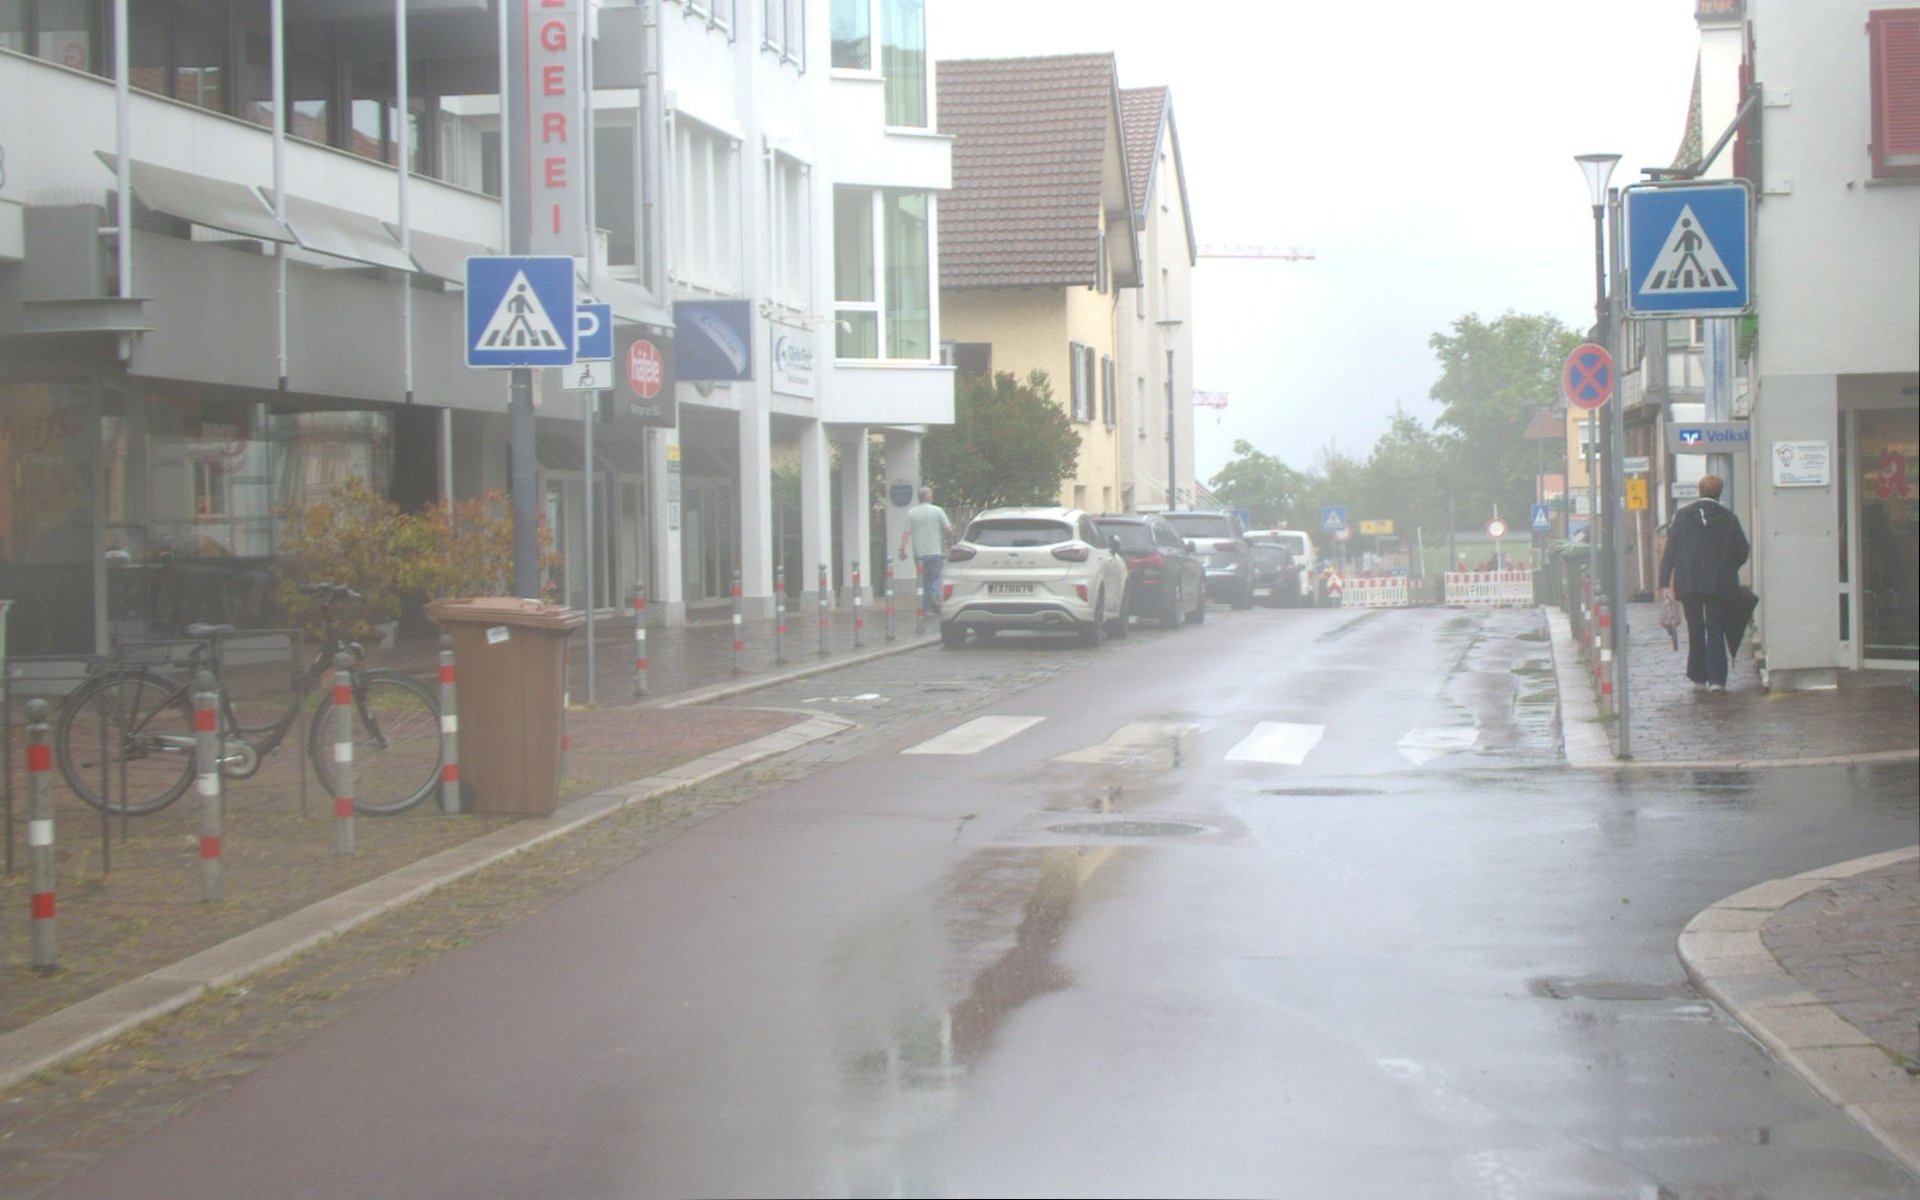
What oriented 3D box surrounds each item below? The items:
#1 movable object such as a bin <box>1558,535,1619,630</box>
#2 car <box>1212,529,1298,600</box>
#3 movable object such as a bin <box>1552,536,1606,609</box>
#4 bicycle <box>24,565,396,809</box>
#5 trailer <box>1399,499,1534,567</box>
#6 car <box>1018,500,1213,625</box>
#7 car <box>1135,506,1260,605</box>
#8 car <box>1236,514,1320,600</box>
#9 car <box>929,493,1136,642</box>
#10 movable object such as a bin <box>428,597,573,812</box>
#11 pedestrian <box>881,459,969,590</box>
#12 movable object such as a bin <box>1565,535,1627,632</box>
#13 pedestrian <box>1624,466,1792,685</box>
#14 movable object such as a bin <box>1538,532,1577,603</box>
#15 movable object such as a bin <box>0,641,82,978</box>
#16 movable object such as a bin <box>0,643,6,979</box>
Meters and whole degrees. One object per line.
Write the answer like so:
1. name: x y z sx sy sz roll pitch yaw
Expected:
1. movable object such as a bin: 7.232 -0.198 39.553 0.676 1.080 0.697 0 1 11
2. car: 6.065 -0.711 70.476 1.681 1.384 3.824 0 0 6
3. movable object such as a bin: 9.754 -0.429 54.215 0.804 1.127 0.862 0 0 8
4. bicycle: -3.629 0.415 16.721 1.745 1.160 0.444 0 0 -10
5. trailer: 22.406 -2.950 152.238 5.782 2.937 2.000 0 0 5
6. car: 2.079 -0.515 44.576 1.831 1.493 4.761 -1 1 11
7. car: 3.993 -0.710 57.225 1.780 1.563 4.406 0 0 8
8. car: 7.069 -0.915 76.150 1.724 1.819 4.427 0 0 7
9. car: 0.876 -0.417 39.009 1.792 1.545 3.999 1 2 9
10. movable object such as a bin: -2.248 0.502 16.835 0.686 1.016 0.632 0 1 -8
11. pedestrian: -0.485 -1.059 47.981 1.035 1.800 1.116 0 1 10
12. movable object such as a bin: 7.178 -0.188 38.804 0.676 1.082 0.718 0 1 11
13. pedestrian: 6.027 -0.204 27.777 1.178 1.691 1.177 -2 1 7
14. movable object such as a bin: 10.954 -0.596 63.008 0.638 1.286 0.631 0 0 15
15. movable object such as a bin: -3.276 0.661 11.121 0.686 1.036 0.669 0 1 1
16. movable object such as a bin: -3.325 0.663 10.385 0.686 1.038 0.669 0 1 1
